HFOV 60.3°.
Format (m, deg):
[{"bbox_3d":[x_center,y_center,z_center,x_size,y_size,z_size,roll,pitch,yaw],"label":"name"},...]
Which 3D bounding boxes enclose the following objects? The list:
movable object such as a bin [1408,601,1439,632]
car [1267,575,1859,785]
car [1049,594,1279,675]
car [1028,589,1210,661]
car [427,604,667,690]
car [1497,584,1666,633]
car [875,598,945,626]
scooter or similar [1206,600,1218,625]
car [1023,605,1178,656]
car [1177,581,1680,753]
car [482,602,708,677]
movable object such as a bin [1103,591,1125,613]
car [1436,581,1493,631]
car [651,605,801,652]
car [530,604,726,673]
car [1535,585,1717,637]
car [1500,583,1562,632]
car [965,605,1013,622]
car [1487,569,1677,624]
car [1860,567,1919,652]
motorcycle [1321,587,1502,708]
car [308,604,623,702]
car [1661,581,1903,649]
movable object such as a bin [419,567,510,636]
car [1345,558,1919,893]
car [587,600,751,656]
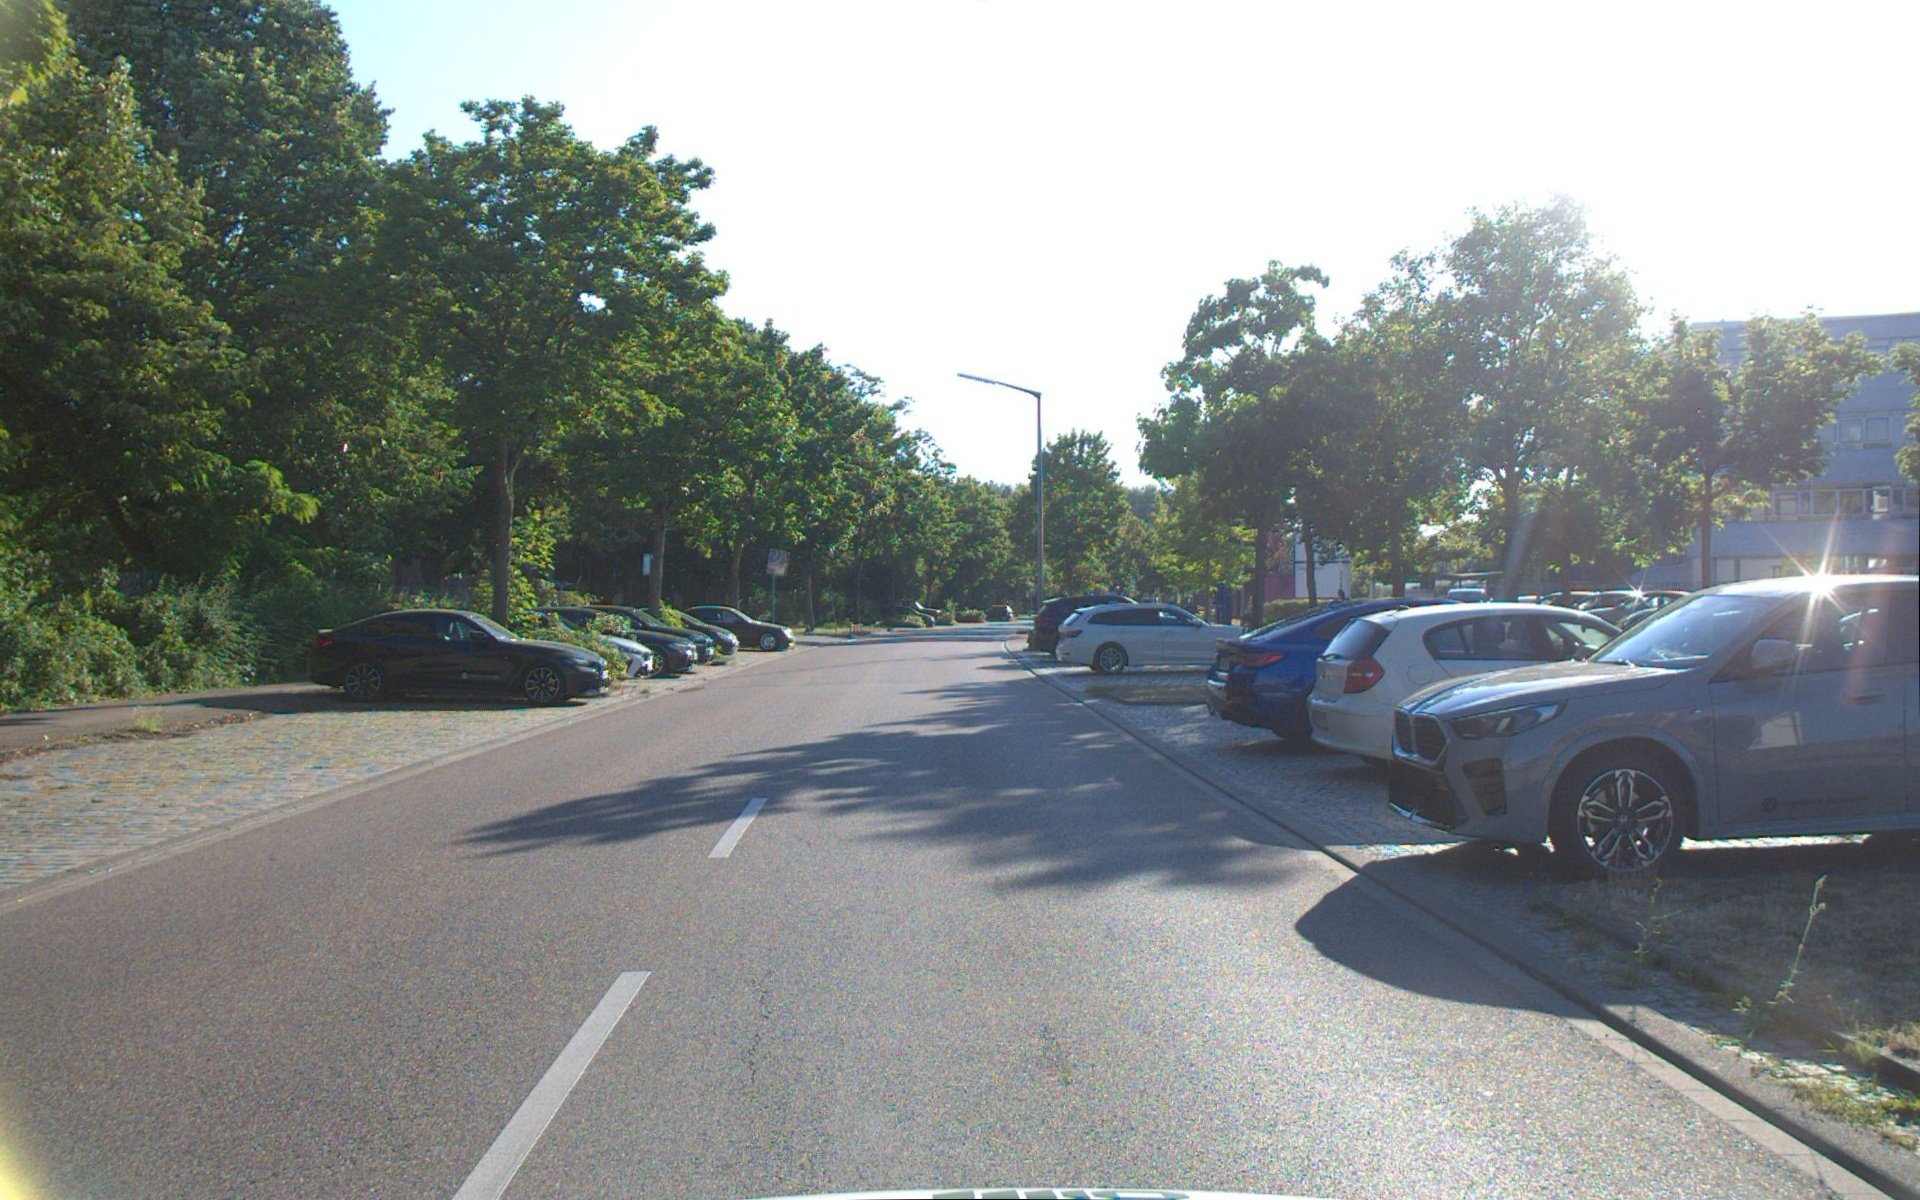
[{"bbox_3d":[19.527,0.679,69.737,1.093,1.290,1.038,-1,0,6],"label":"movable object such as a bin"},{"bbox_3d":[4.983,0.635,14.131,4.288,1.505,1.999,-2,0,-2],"label":"car"},{"bbox_3d":[4.297,0.721,35.372,4.600,1.505,1.999,-2,0,-2],"label":"car"},{"bbox_3d":[4.112,0.636,43.156,4.596,1.781,2.192,-1,0,3],"label":"car"},{"bbox_3d":[-8.082,0.904,32.658,4.199,1.557,2.000,1,0,0],"label":"car"},{"bbox_3d":[19.979,0.286,53.277,4.701,1.489,1.989,-1,0,41],"label":"car"},{"bbox_3d":[-3.678,0.884,122.808,4.898,2.055,2.176,0,0,6],"label":"car"},{"bbox_3d":[13.542,0.674,88.827,0.509,1.294,1.388,-1,0,4],"label":"scooter or similar"},{"bbox_3d":[4.112,0.884,48.946,4.390,1.428,2.033,-1,0,-1],"label":"car"},{"bbox_3d":[4.642,0.646,16.892,4.531,1.481,1.999,-2,0,-2],"label":"car"},{"bbox_3d":[-8.259,0.886,37.795,4.754,1.557,1.998,1,0,-4],"label":"car"},{"bbox_3d":[22.688,0.261,243.415,2.778,3.122,4.931,2,0,9],"label":"movable object such as a bin"},{"bbox_3d":[19.910,0.218,65.419,1.988,1.860,4.980,-1,0,15],"label":"car"},{"bbox_3d":[-8.124,0.990,57.769,4.932,1.487,2.000,1,0,-1],"label":"car"},{"bbox_3d":[-8.071,0.929,40.514,4.388,1.557,2.000,1,0,-1],"label":"car"},{"bbox_3d":[19.973,0.334,49.716,4.701,1.489,2.036,-1,0,41],"label":"car"},{"bbox_3d":[22.676,0.269,65.822,1.988,1.860,4.564,-1,0,15],"label":"car"},{"bbox_3d":[2.809,1.278,159.407,4.265,1.505,2.002,2,0,10],"label":"car"},{"bbox_3d":[17.746,-0.082,47.296,4.701,1.489,1.989,-1,0,41],"label":"car"},{"bbox_3d":[19.843,0.154,30.764,1.986,1.599,5.104,-1,0,-45],"label":"car"},{"bbox_3d":[5.902,0.598,21.642,2.089,1.491,0.945,-1,0,-17],"label":"motorcycle"},{"bbox_3d":[-7.969,0.839,27.011,4.556,1.446,1.915,1,0,-3],"label":"car"},{"bbox_3d":[19.213,0.353,38.782,1.986,1.489,4.709,-1,0,-45],"label":"car"},{"bbox_3d":[-20.253,0.055,67.501,2.141,2.711,4.743,0,0,-36],"label":"movable object such as a bin"},{"bbox_3d":[4.751,0.601,9.562,4.500,1.612,1.998,-2,0,-4],"label":"car"},{"bbox_3d":[-8.421,0.799,48.120,4.388,1.487,2.000,1,0,-1],"label":"car"}]
